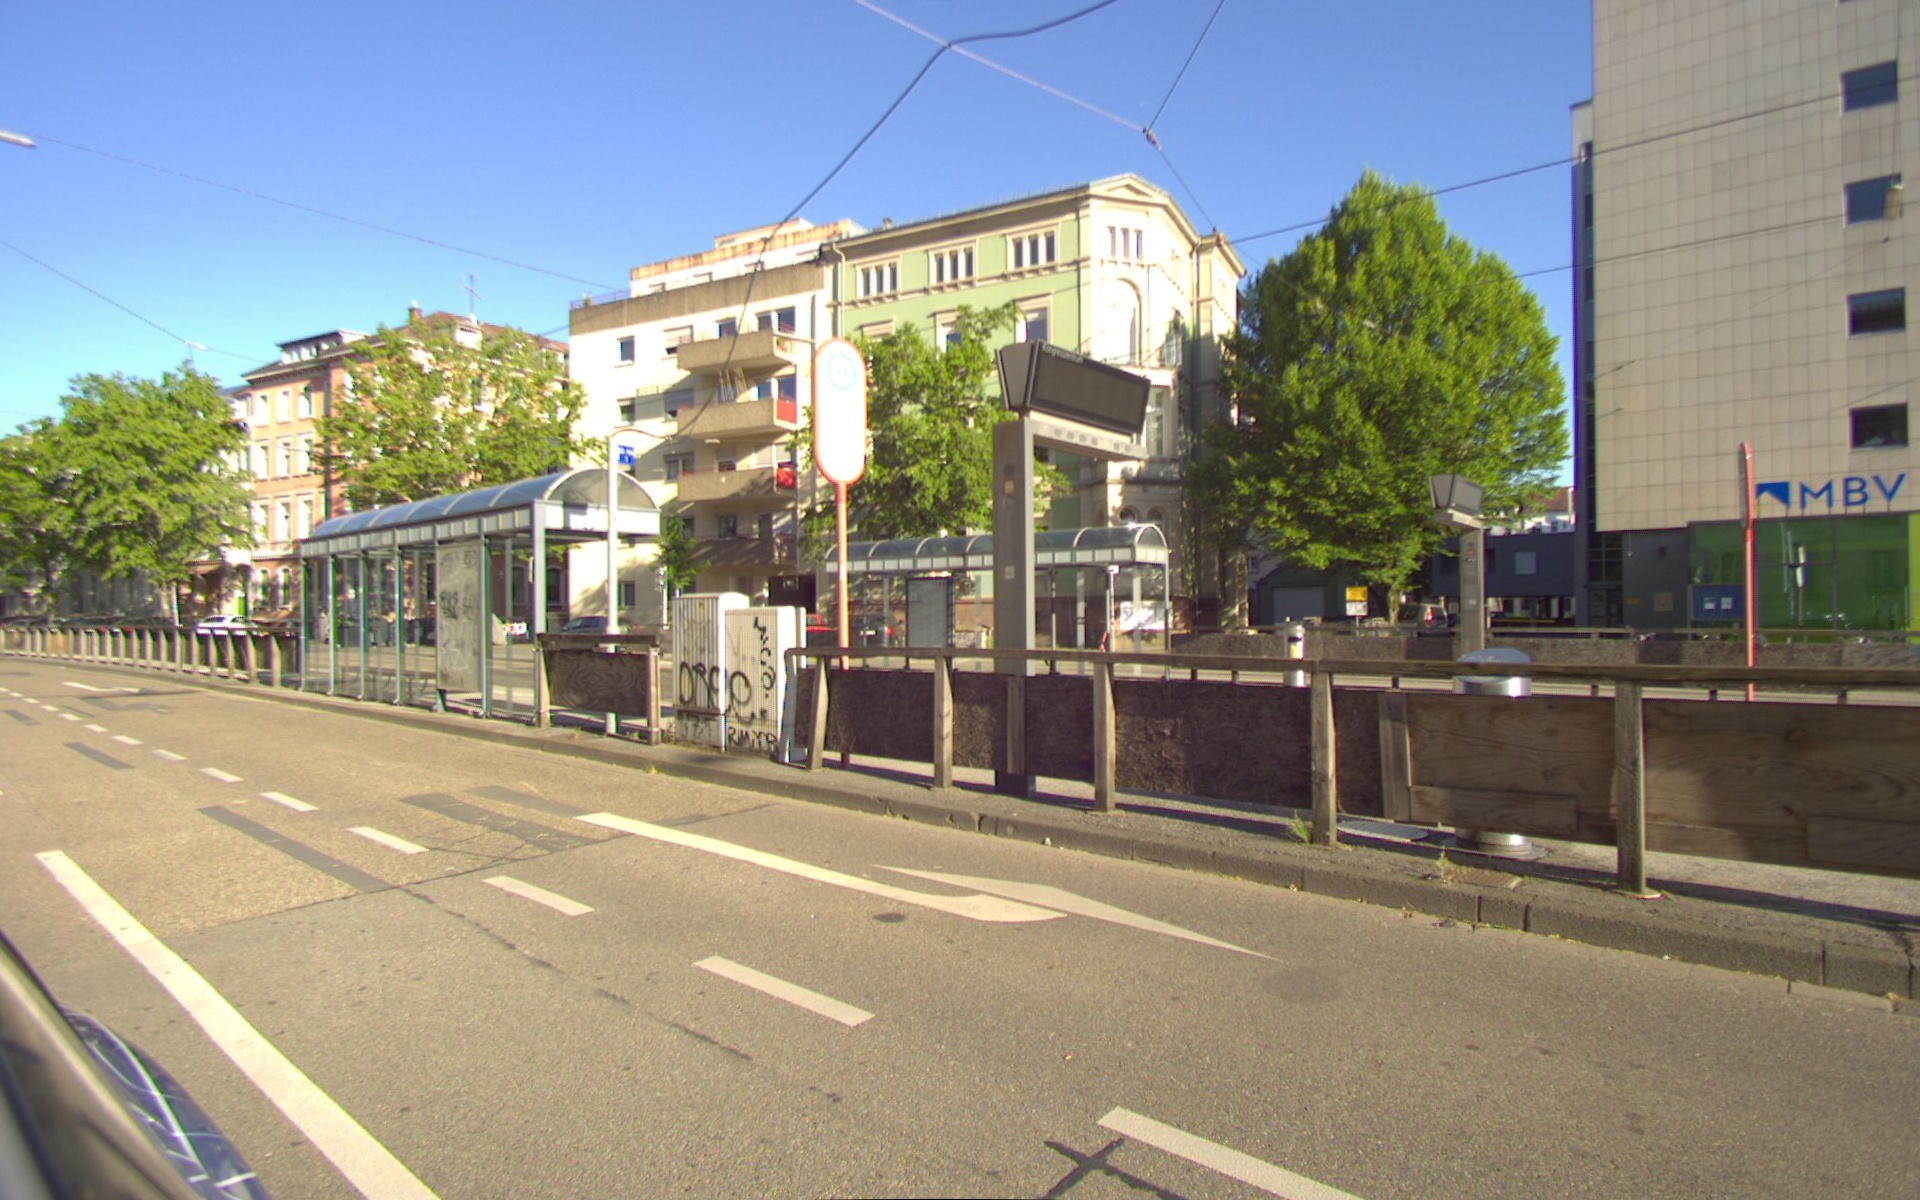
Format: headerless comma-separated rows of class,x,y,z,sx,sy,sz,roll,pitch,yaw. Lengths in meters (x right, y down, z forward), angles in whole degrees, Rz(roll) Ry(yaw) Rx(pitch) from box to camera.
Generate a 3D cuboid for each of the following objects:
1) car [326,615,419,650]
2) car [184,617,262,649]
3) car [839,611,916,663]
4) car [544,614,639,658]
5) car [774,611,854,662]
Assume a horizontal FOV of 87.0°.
car,-28.409,1.552,49.051,1.626,1.579,3.560,-1,0,33
car,-39.409,1.731,54.208,1.607,1.579,3.601,-1,0,-2
car,-2.657,1.181,33.368,1.614,1.579,3.588,-1,0,11
car,-14.042,1.328,38.516,3.592,1.579,1.612,-1,0,35
car,-4.930,1.210,34.564,1.614,1.579,3.588,-1,0,11
